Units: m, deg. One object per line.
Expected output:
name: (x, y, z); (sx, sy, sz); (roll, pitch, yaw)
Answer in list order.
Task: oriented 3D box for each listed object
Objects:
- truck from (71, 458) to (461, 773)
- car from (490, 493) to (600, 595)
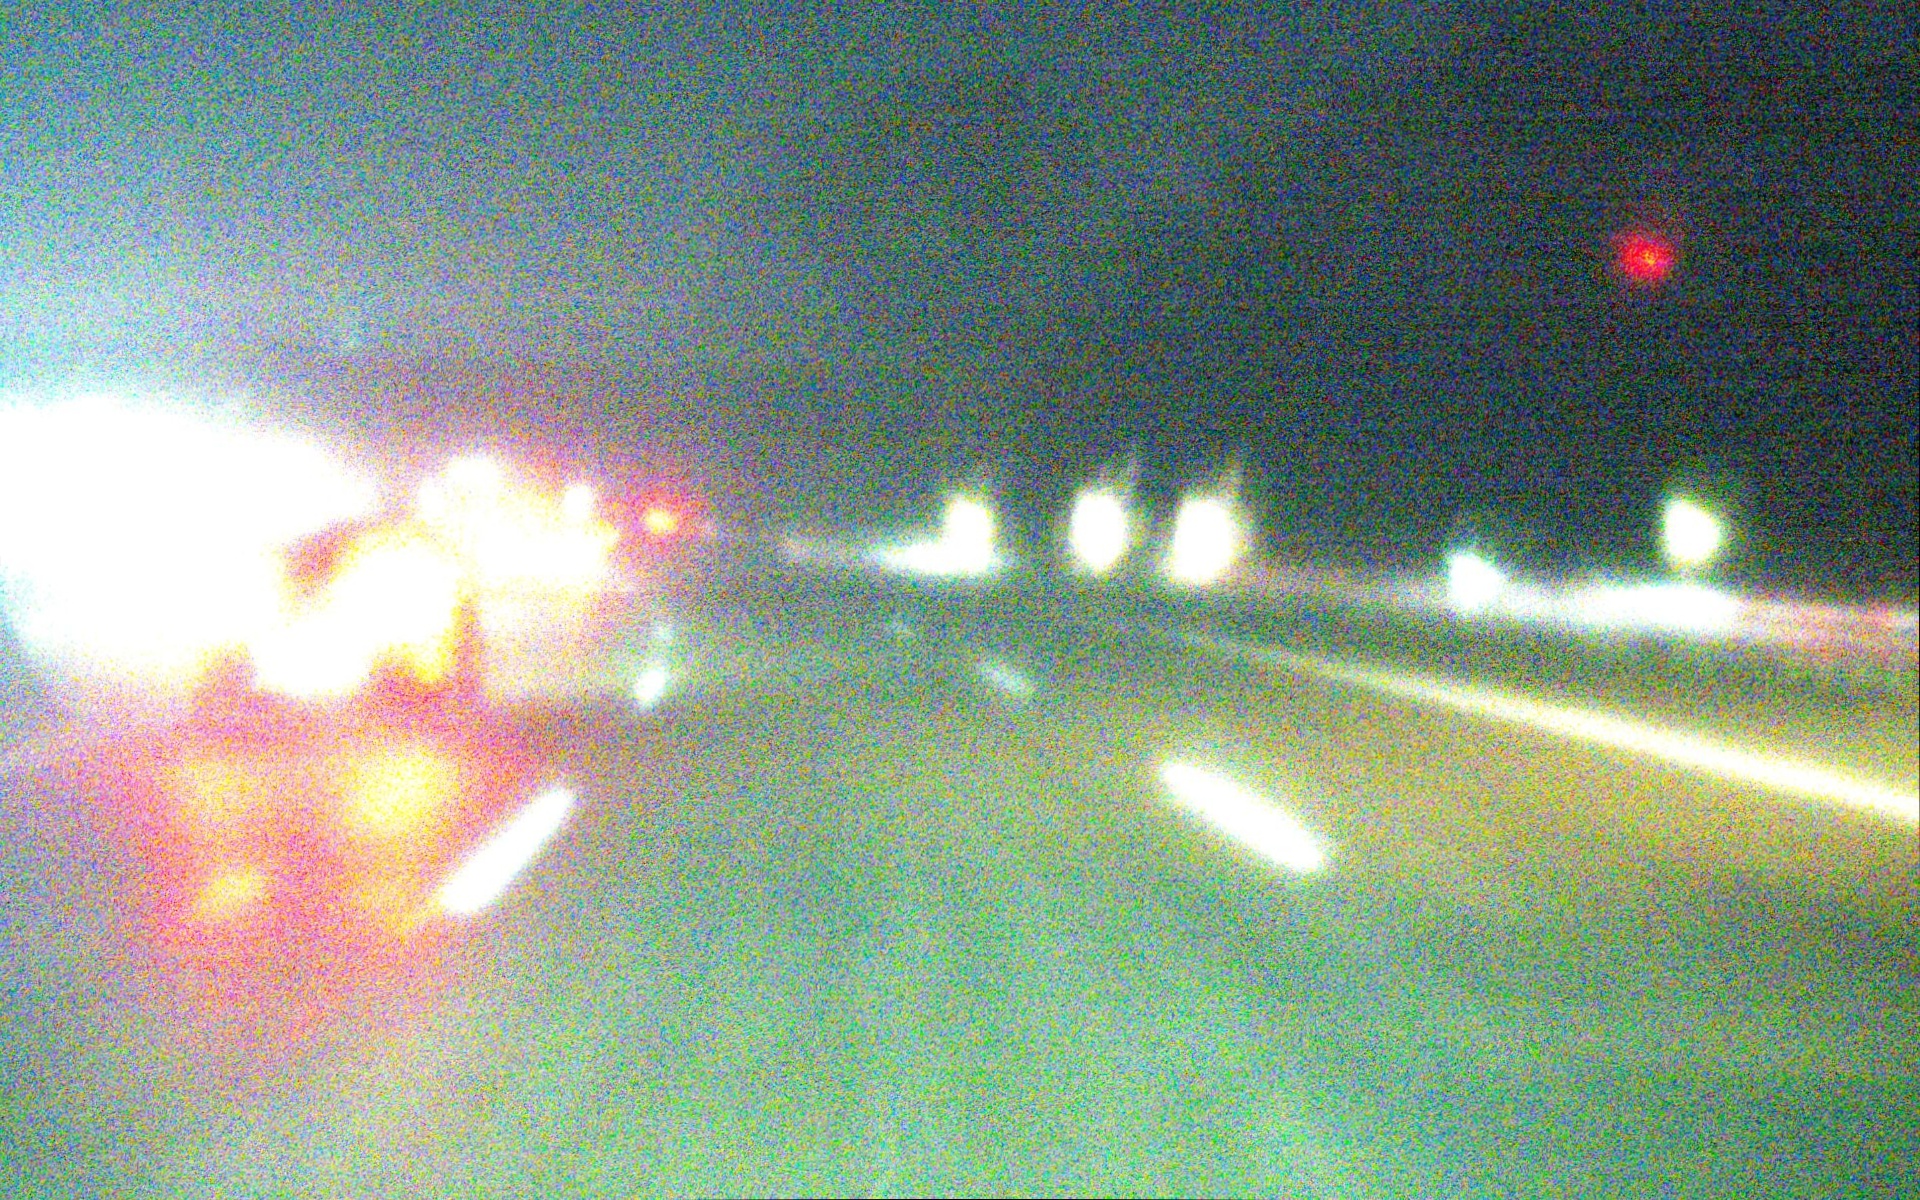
truck: (-5.381, -0.021, 27.596); (2.144, 2.070, 6.606); (1, 3, -4)
car: (-9.240, -1.284, 76.815); (1.993, 2.006, 4.001); (4, 2, -3)
